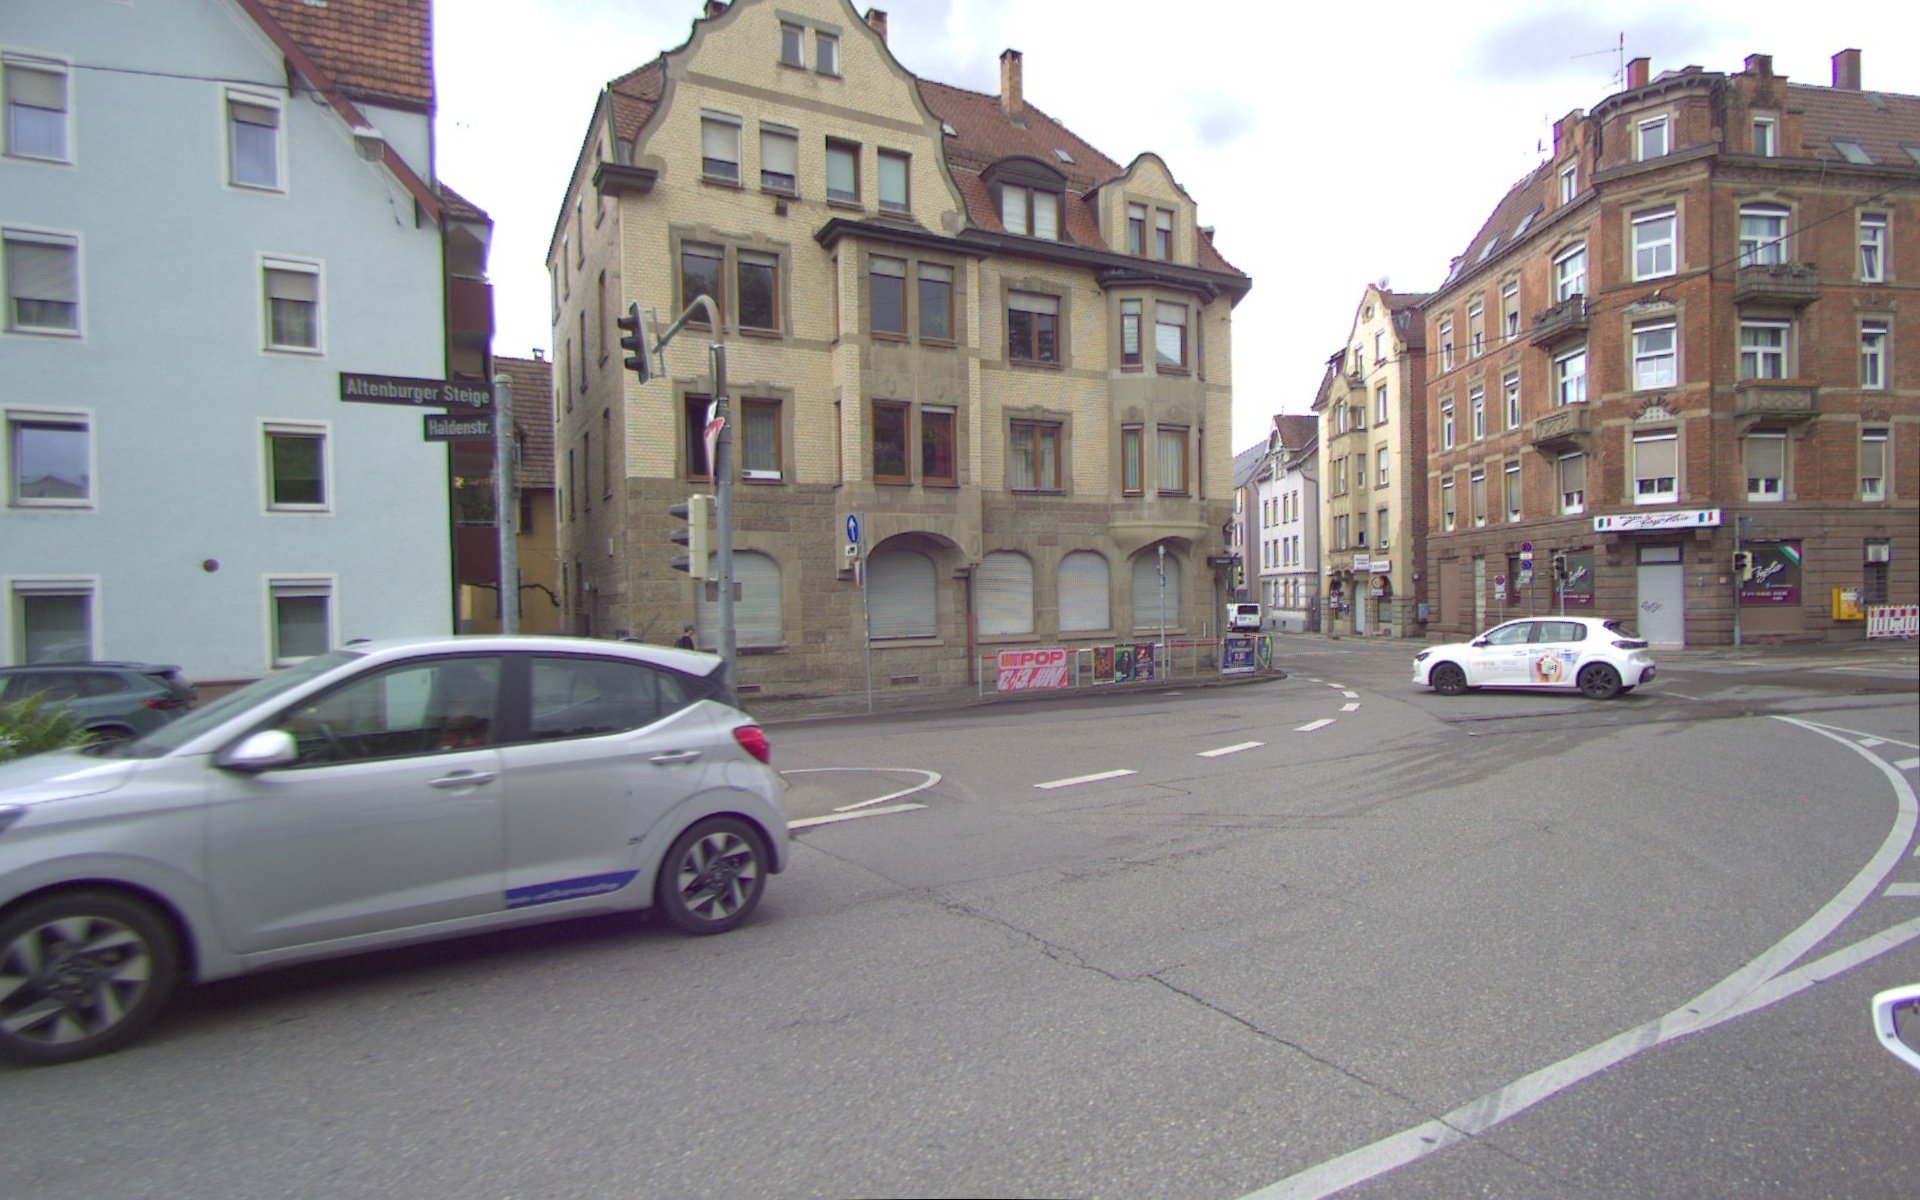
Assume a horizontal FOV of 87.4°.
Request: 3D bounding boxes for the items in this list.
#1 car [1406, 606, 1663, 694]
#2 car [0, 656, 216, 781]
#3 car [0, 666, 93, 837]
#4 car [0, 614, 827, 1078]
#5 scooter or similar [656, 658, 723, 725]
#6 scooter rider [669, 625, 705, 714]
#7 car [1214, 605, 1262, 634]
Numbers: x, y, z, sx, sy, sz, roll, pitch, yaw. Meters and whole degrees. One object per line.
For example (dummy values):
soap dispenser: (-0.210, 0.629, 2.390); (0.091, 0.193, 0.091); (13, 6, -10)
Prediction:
car: (10.769, 0.973, 19.033); (1.674, 1.485, 3.870); (1, -4, -43)
car: (-13.181, 1.627, 14.097); (4.183, 1.576, 1.674); (1, -1, -30)
car: (-11.297, 1.462, 9.484); (4.369, 1.534, 1.820); (1, 0, -29)
car: (-2.614, 0.853, 4.724); (3.613, 1.486, 1.656); (1, -4, -40)
scooter or similar: (-5.397, 1.811, 20.048); (1.211, 1.258, 0.376); (-1, 0, -29)
scooter rider: (-5.445, 1.372, 20.024); (0.570, 1.728, 0.485); (-1, 0, -29)
car: (20.147, 1.423, 72.951); (2.093, 2.031, 4.926); (0, -1, 0)
